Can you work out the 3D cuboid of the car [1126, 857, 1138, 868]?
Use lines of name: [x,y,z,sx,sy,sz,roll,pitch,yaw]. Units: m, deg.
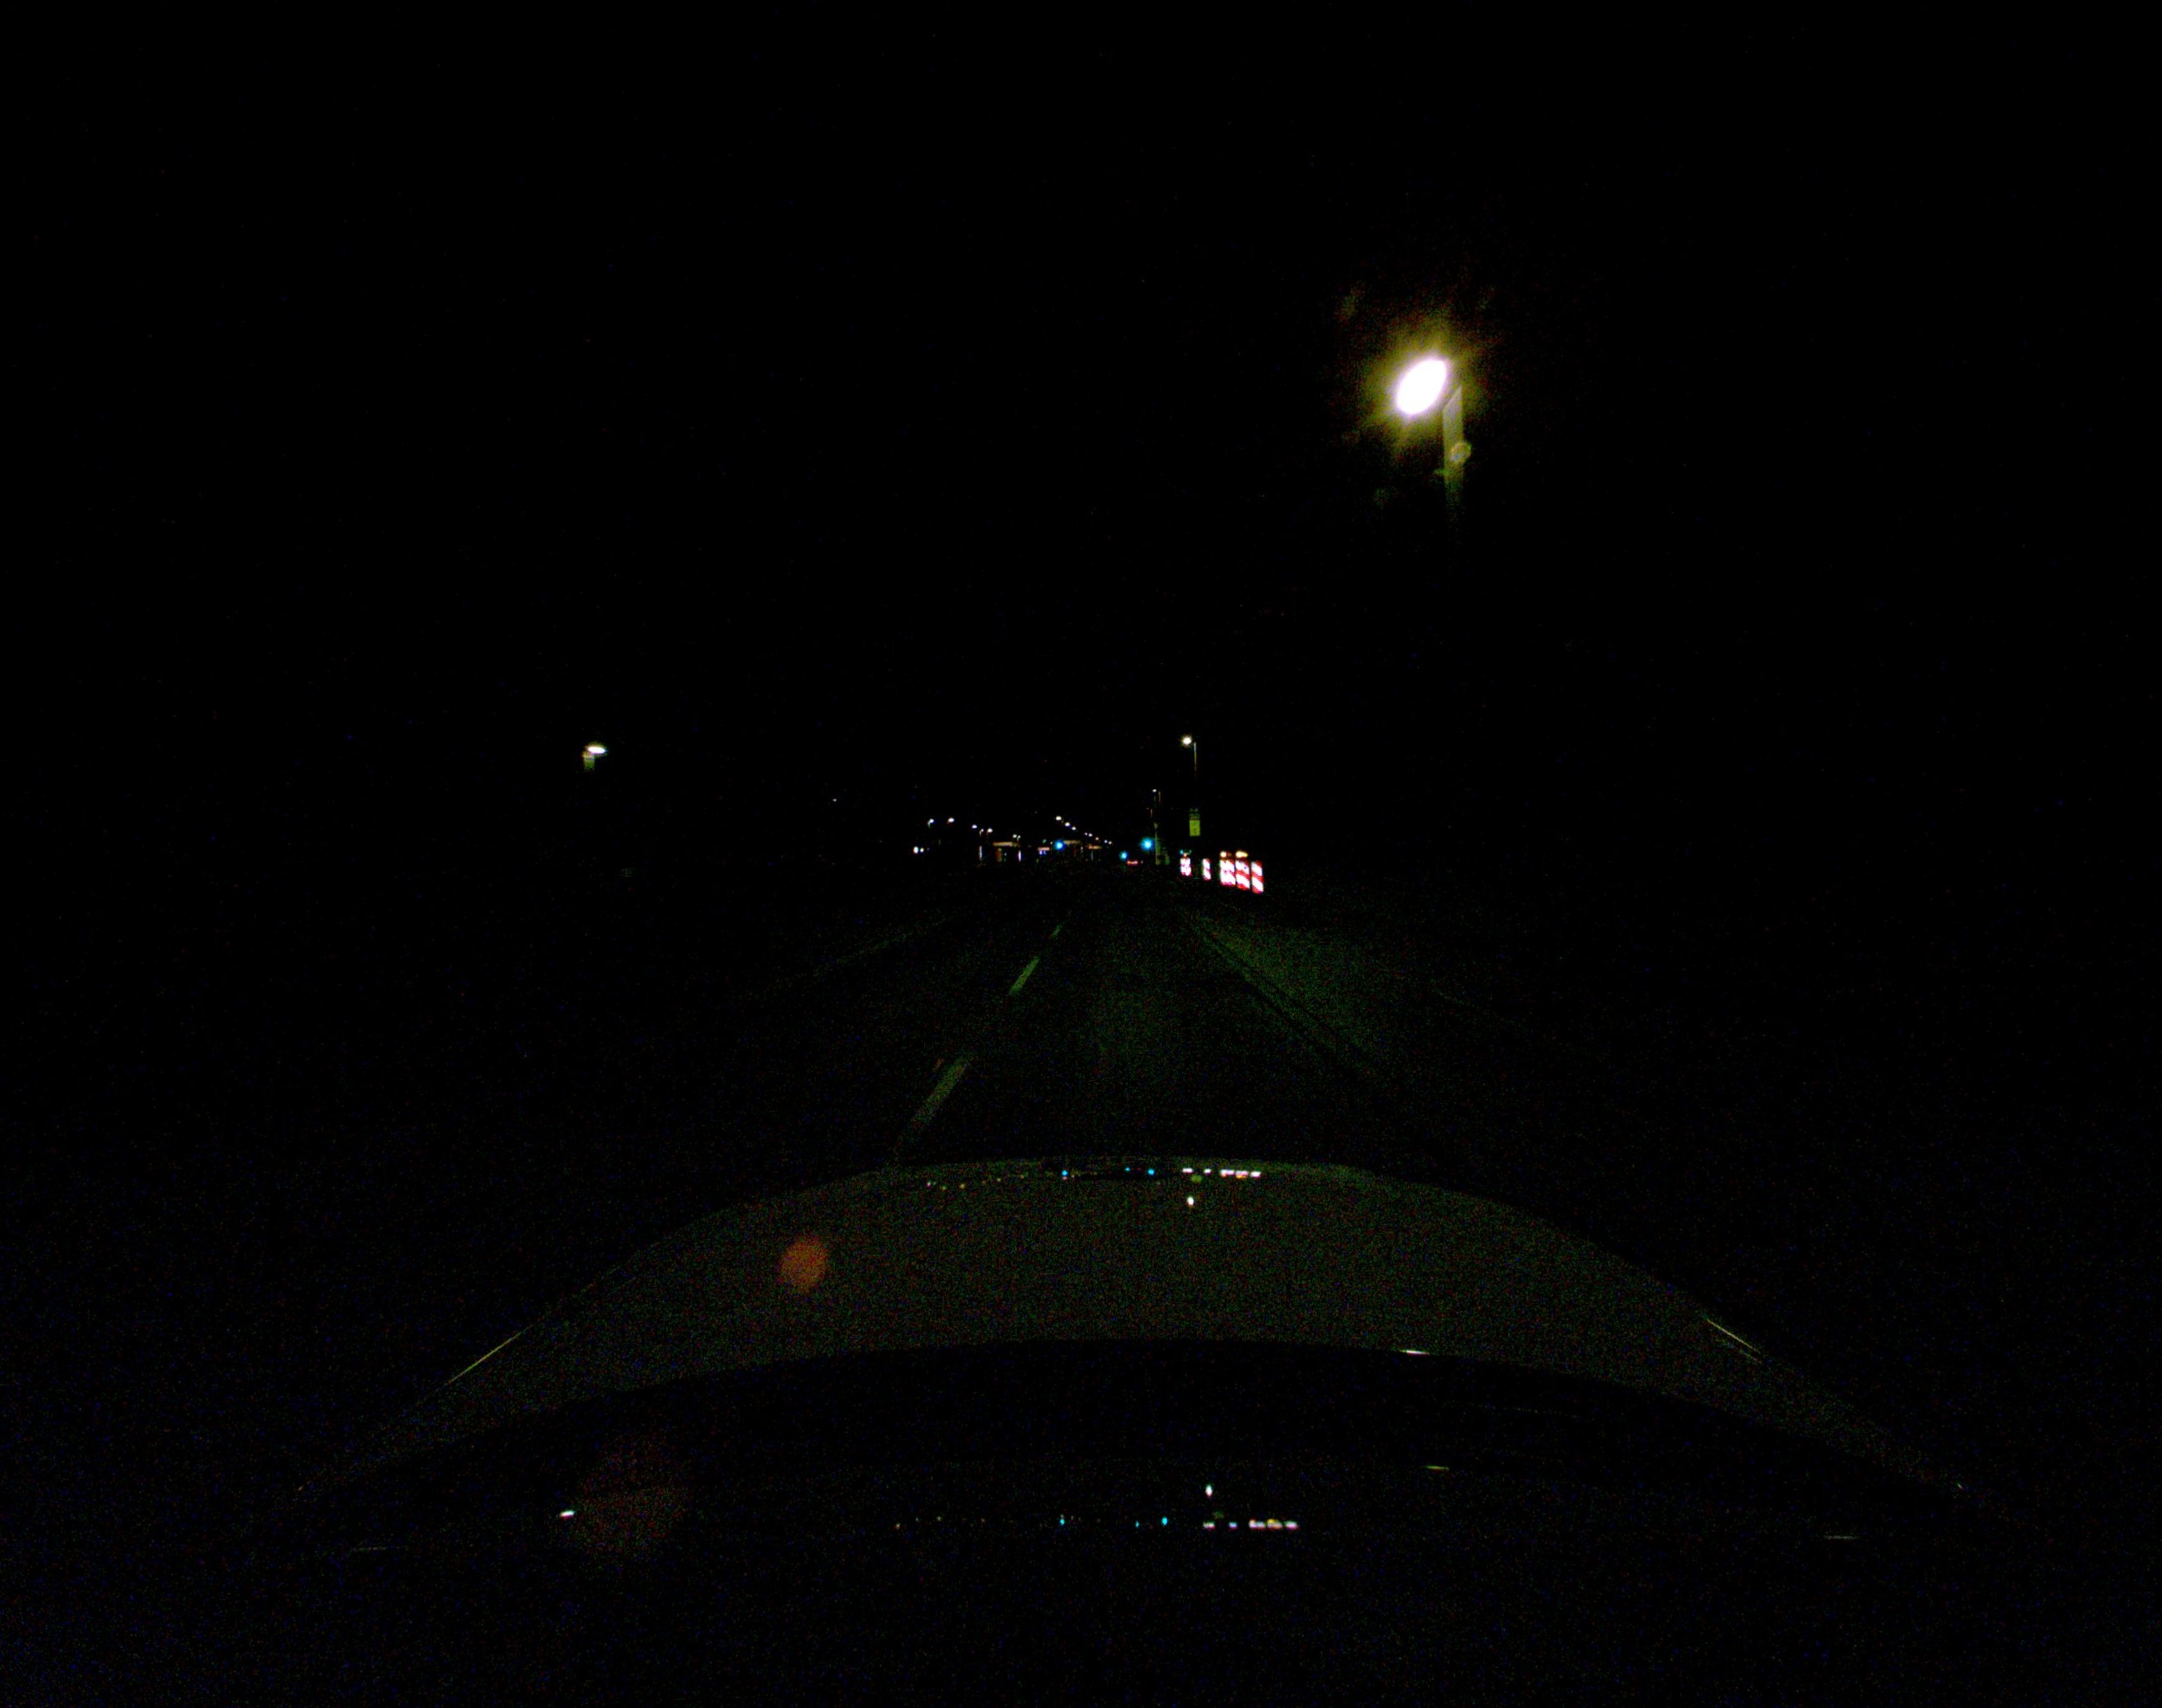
car: [9.717,1.638,155.208,2.079,2.013,4.003,-2,0,3]
